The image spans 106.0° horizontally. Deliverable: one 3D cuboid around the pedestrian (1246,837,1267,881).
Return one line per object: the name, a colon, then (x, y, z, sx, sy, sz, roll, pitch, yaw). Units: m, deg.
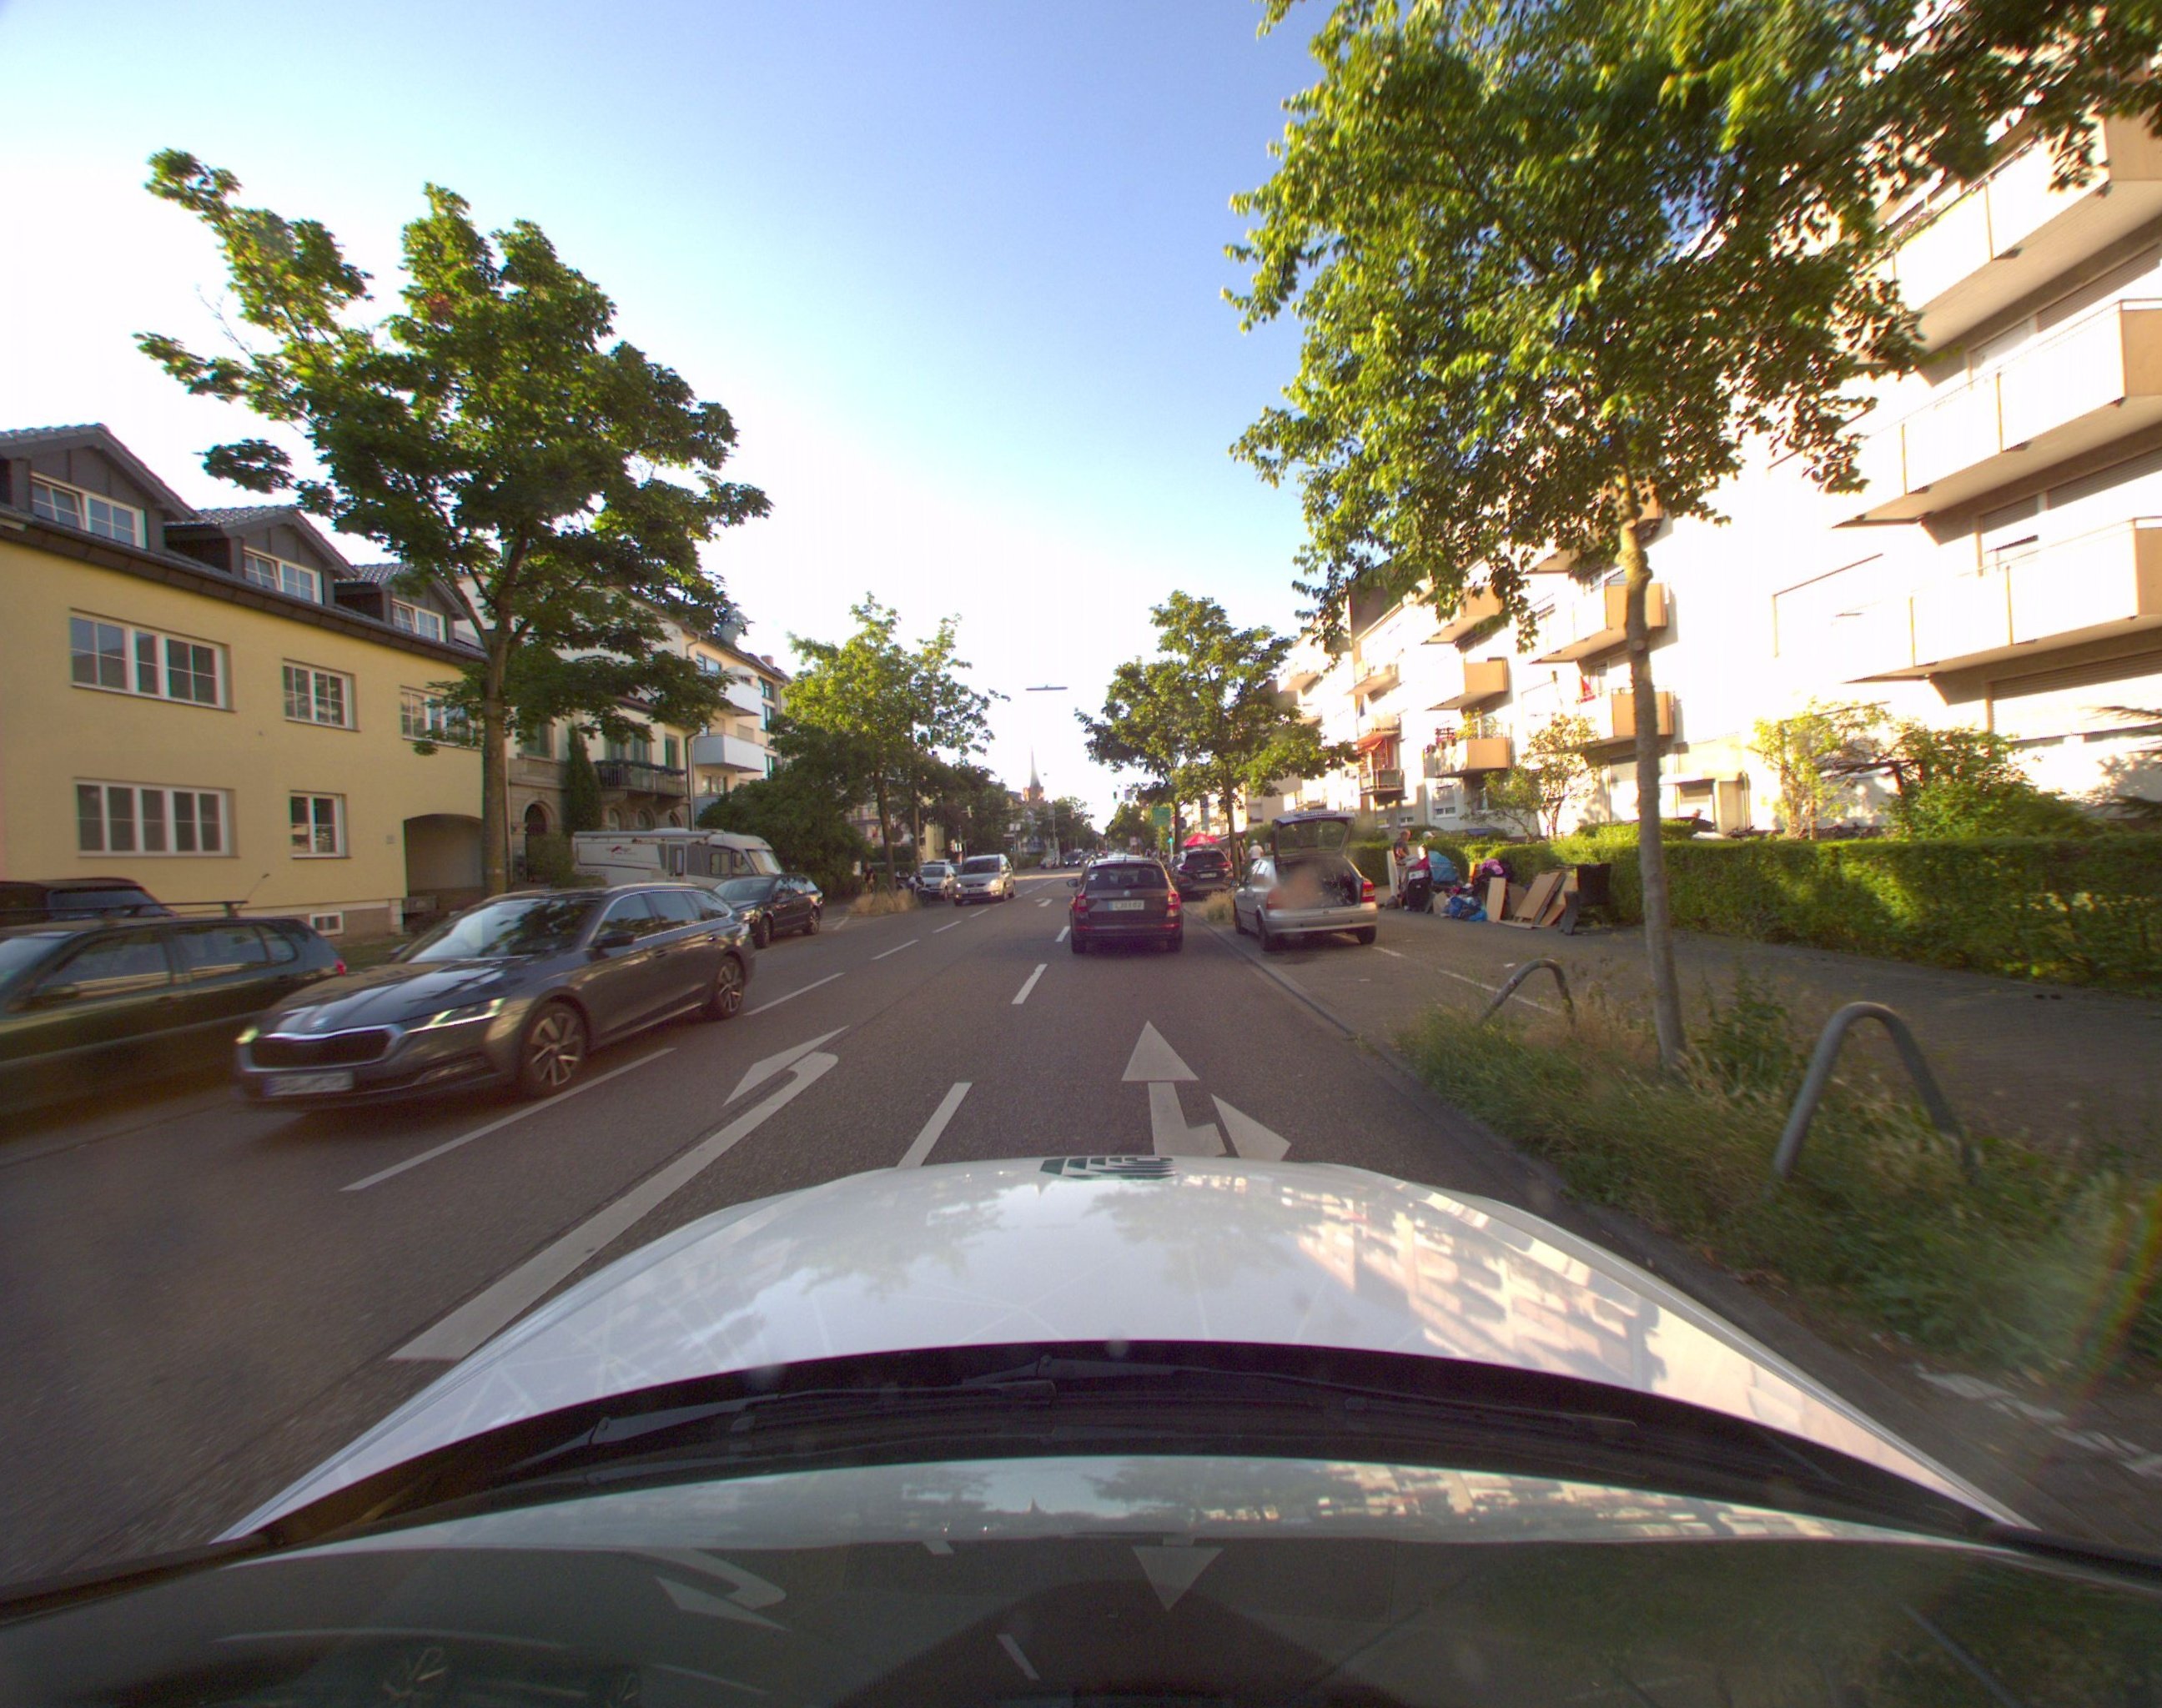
pedestrian: (7.121, 0.195, 33.136, 0.659, 1.749, 0.774, -4, -1, 8)

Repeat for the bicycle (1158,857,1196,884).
bicycle: (4.135, 0.713, 35.105, 1.564, 1.104, 0.392, -3, 0, 2)

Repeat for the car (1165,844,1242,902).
car: (3.821, 0.565, 25.985, 1.849, 1.581, 4.015, -4, 0, 2)

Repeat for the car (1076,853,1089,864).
car: (0.293, 0.685, 128.681, 1.823, 1.579, 4.002, -3, 0, 2)

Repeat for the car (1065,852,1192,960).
car: (0.740, 0.736, 13.760, 1.766, 1.489, 4.312, -2, 0, 2)

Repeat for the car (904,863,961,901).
car: (-6.248, 1.157, 34.631, 1.587, 1.470, 3.806, -1, 0, 2)

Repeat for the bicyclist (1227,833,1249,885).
bicyclist: (5.566, 0.178, 28.963, 0.579, 1.789, 0.852, -3, 0, 2)

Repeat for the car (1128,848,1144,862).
car: (6.838, 0.115, 100.967, 1.984, 1.772, 4.006, -1, 0, 5)

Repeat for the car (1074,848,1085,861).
car: (-0.309, 0.118, 173.579, 1.986, 2.478, 4.002, -3, 0, 2)

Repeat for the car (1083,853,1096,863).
car: (1.537, 0.674, 144.534, 1.985, 1.610, 4.003, -3, 0, 3)

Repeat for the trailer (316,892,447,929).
trailer: (-20.270, 1.620, 23.669, 2.395, 0.960, 1.628, 0, 0, 2)

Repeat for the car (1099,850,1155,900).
car: (1.551, 0.659, 27.665, 1.729, 1.571, 4.003, -1, 0, 3)

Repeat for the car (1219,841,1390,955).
car: (3.503, 0.617, 13.588, 1.702, 1.480, 4.270, -5, 0, 2)

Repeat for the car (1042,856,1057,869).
car: (-3.721, 0.970, 96.997, 1.516, 1.457, 3.587, -3, 0, 2)

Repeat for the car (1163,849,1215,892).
car: (4.113, 0.581, 31.605, 1.696, 1.450, 4.018, -4, 0, 4)

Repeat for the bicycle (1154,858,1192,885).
bicycle: (4.322, 0.809, 38.218, 1.677, 1.107, 0.518, -5, -1, 8)

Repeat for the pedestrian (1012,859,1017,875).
pedestrian: (-6.488, 1.264, 79.549, 0.299, 1.504, 0.641, -3, 0, 3)

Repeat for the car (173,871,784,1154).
car: (-4.448, 1.001, 7.152, 1.754, 1.452, 4.536, -5, 0, 2)

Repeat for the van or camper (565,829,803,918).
van or camper: (-13.102, 0.628, 27.206, 6.773, 2.773, 2.352, -1, 0, 1)

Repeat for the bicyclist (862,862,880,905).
bicyclist: (-8.299, 1.150, 32.245, 0.467, 1.663, 0.552, -3, 0, 1)

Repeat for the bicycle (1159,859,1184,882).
bicycle: (4.388, 0.791, 39.481, 0.613, 1.051, 1.583, -3, 0, 28)

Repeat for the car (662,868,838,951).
car: (-7.081, 1.121, 18.018, 1.860, 1.494, 4.520, -1, 0, 2)

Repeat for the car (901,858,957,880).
car: (-14.015, 1.368, 75.233, 4.617, 1.811, 1.862, -3, 0, 1)

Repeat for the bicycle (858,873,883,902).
bicycle: (-8.301, 1.318, 32.139, 0.484, 1.064, 1.535, -3, 0, 2)

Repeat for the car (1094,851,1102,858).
car: (4.803, 0.161, 224.709, 1.986, 2.013, 4.003, -3, 0, 2)

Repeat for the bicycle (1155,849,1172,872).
bicycle: (4.397, 0.350, 43.383, 0.501, 1.147, 1.956, -5, -1, -3)

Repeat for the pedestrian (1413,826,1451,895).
pedestrian: (8.089, 0.146, 18.762, 0.586, 1.540, 0.700, -3, 0, 38)

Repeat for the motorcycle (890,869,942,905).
motorcycle: (-6.265, 1.252, 30.919, 2.028, 1.265, 0.772, -3, 0, 40)

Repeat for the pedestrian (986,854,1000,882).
pedestrian: (-6.485, 1.028, 60.250, 0.777, 1.987, 0.821, -3, 0, 2)

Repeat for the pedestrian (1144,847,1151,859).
pedestrian: (10.078, -0.127, 122.761, 0.668, 1.704, 0.806, -3, 0, 28)

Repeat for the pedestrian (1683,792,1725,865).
pedestrian: (14.401, -0.588, 18.843, 0.475, 1.640, 0.533, -3, 0, -17)

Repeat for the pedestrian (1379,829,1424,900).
pedestrian: (7.569, 0.242, 19.242, 0.748, 1.640, 0.700, -3, 0, 38)

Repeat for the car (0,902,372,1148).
car: (-7.599, 1.195, 5.921, 1.537, 1.396, 3.667, -3, 0, 2)

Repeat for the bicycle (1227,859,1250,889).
bicycle: (5.593, 0.688, 28.951, 0.514, 0.987, 1.832, -3, 0, 2)

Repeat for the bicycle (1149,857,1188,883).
bicycle: (4.433, 0.807, 41.177, 1.824, 1.157, 0.685, -5, -1, 8)

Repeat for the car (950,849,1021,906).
car: (-3.460, 0.804, 30.331, 1.799, 1.804, 4.747, -4, 0, 2)

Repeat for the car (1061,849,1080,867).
car: (-1.215, 0.454, 97.105, 1.986, 1.908, 4.966, -5, 0, 2)

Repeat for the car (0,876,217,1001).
car: (-15.721, 1.197, 12.042, 3.970, 1.636, 1.867, -1, 0, 3)

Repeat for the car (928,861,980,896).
car: (-6.061, 1.129, 39.260, 1.642, 1.517, 4.076, -1, 0, 2)
